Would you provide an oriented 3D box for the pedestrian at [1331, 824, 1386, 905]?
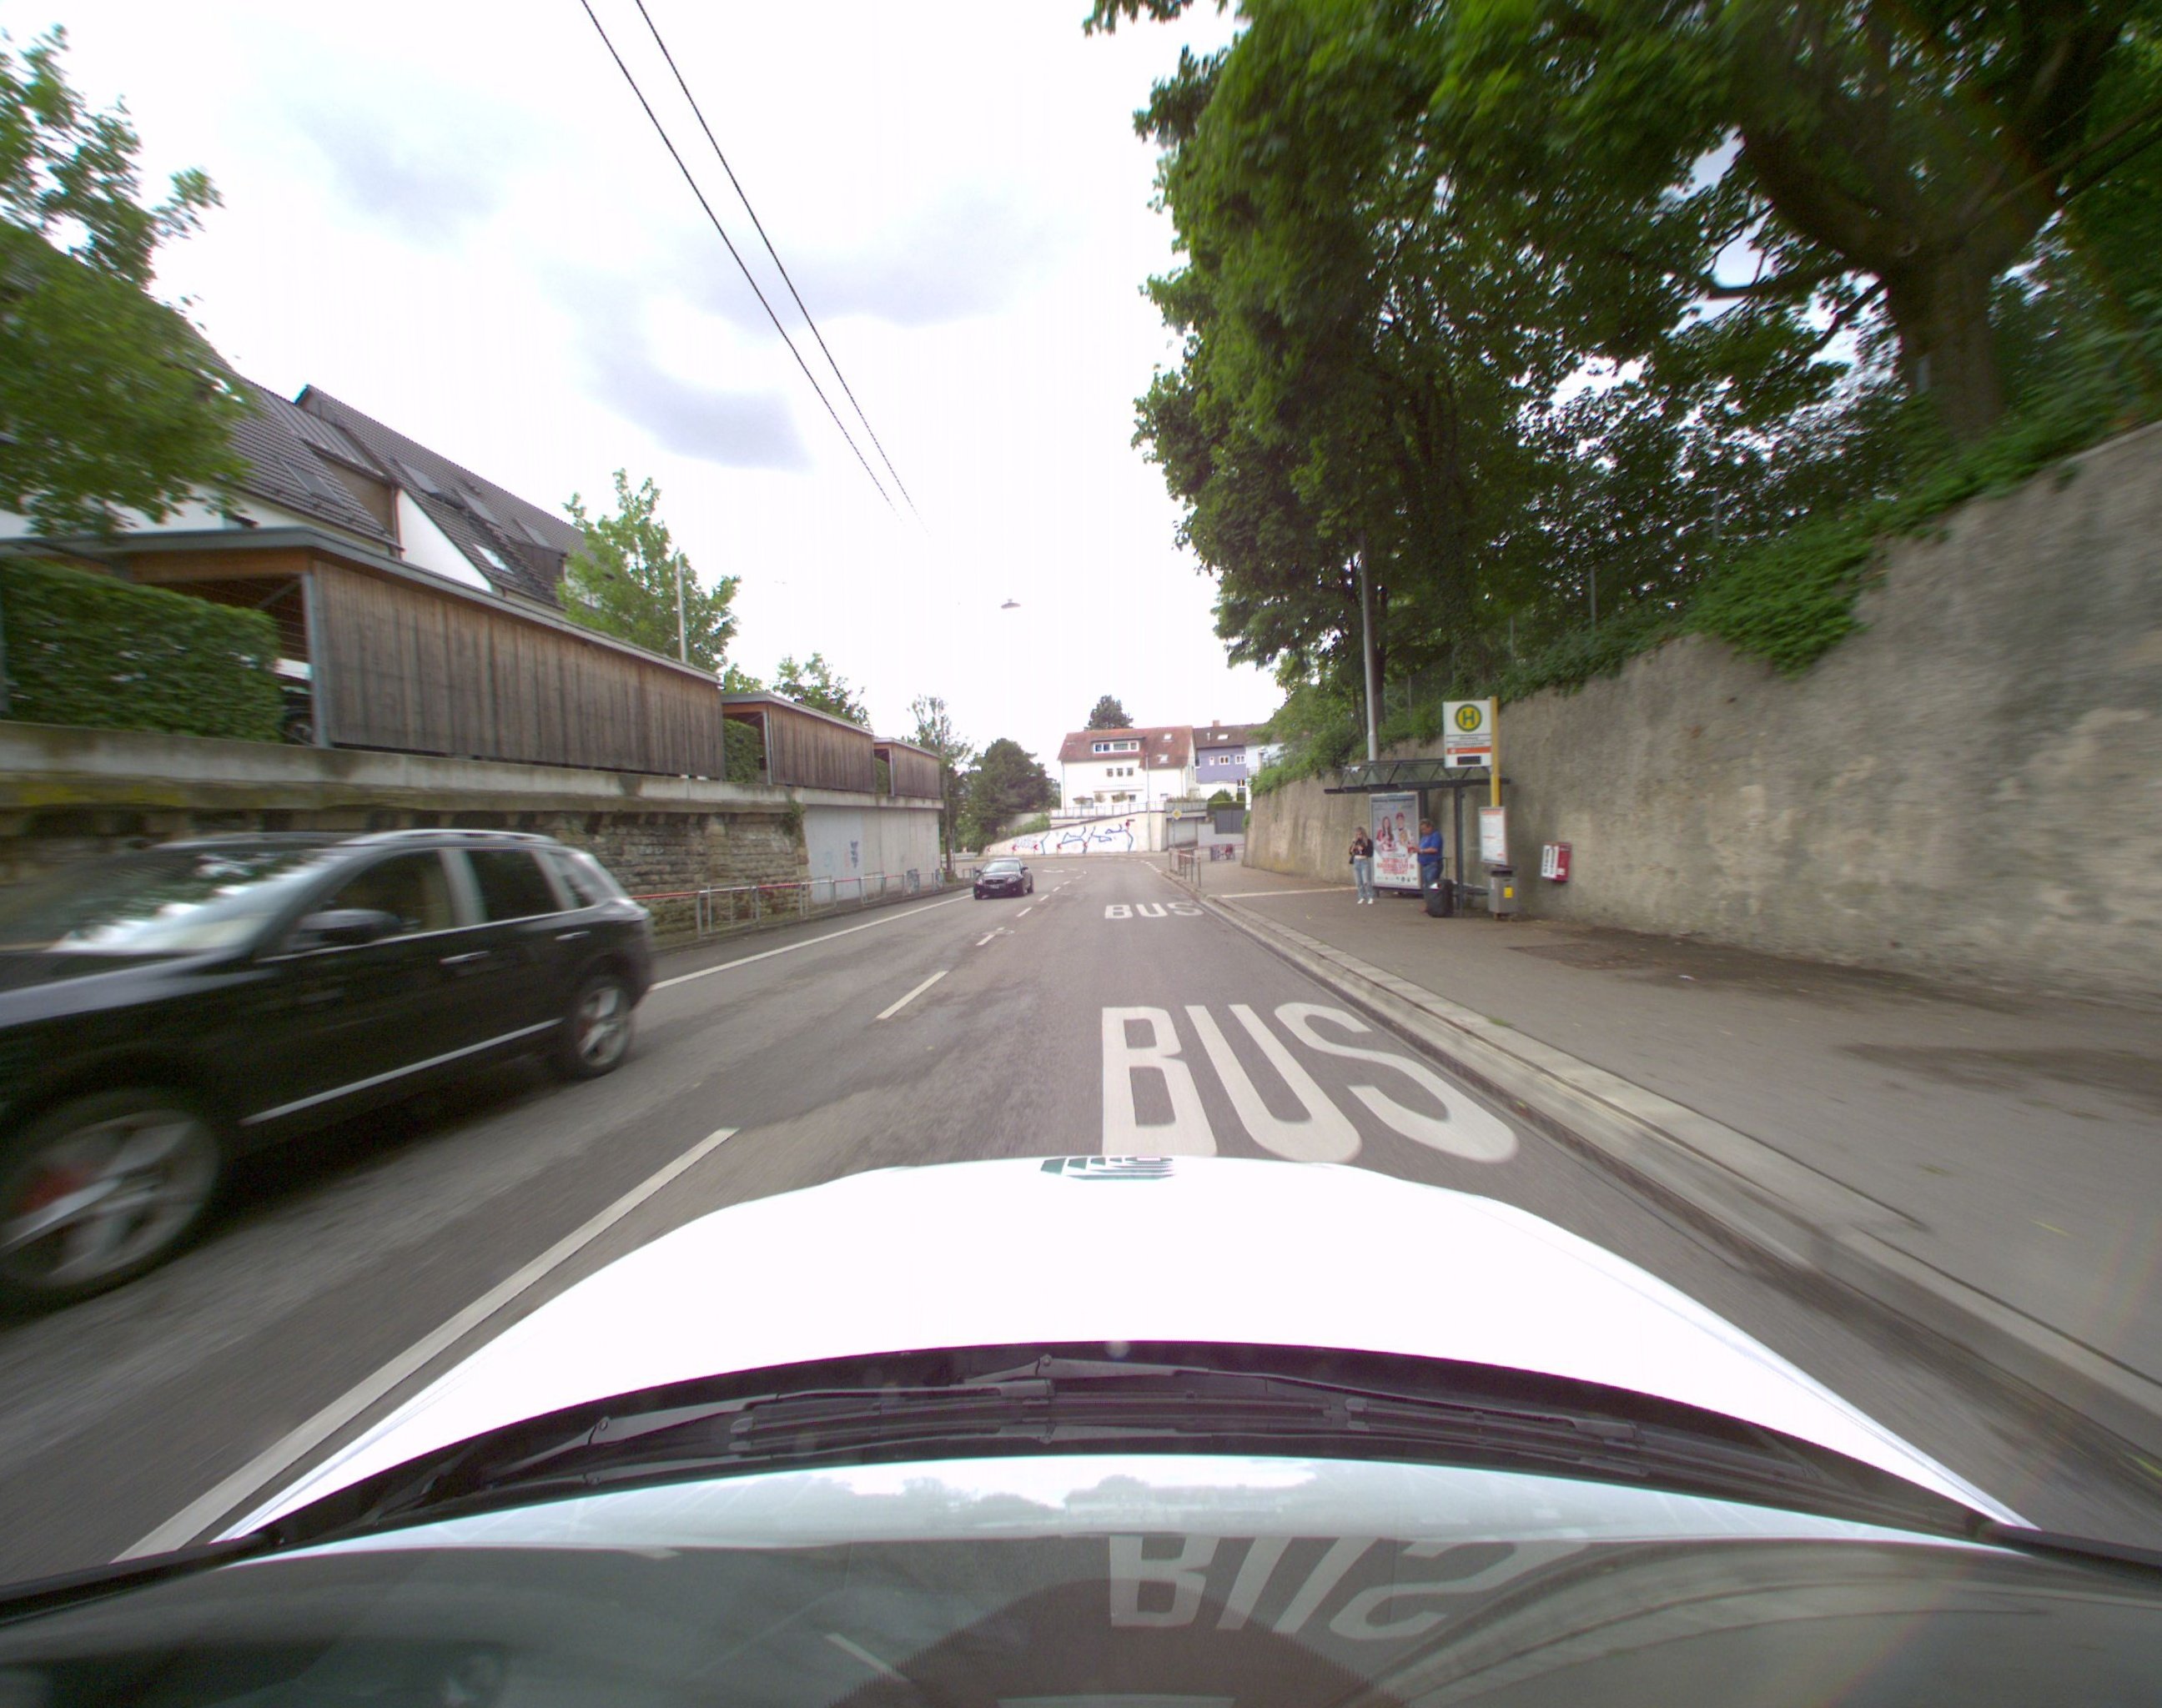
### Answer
[{"bbox_3d":[5.692,0.206,16.707,0.728,1.587,0.778,-3,1,43],"label":"pedestrian"}]

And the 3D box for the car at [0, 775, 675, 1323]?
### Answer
[{"bbox_3d":[-4.378,0.665,4.484,1.887,1.756,4.438,-2,0,1],"label":"car"}]

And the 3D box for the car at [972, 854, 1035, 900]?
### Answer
[{"bbox_3d":[-2.809,0.795,30.295,1.728,1.533,4.002,-2,0,2],"label":"car"}]

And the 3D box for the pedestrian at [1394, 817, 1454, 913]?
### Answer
[{"bbox_3d":[6.042,0.188,14.372,0.719,1.642,0.630,-2,0,-3],"label":"pedestrian"}]

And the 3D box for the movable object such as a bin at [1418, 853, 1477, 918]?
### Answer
[{"bbox_3d":[6.154,0.516,13.708,0.673,1.020,0.626,-2,1,-3],"label":"movable object such as a bin"}]
